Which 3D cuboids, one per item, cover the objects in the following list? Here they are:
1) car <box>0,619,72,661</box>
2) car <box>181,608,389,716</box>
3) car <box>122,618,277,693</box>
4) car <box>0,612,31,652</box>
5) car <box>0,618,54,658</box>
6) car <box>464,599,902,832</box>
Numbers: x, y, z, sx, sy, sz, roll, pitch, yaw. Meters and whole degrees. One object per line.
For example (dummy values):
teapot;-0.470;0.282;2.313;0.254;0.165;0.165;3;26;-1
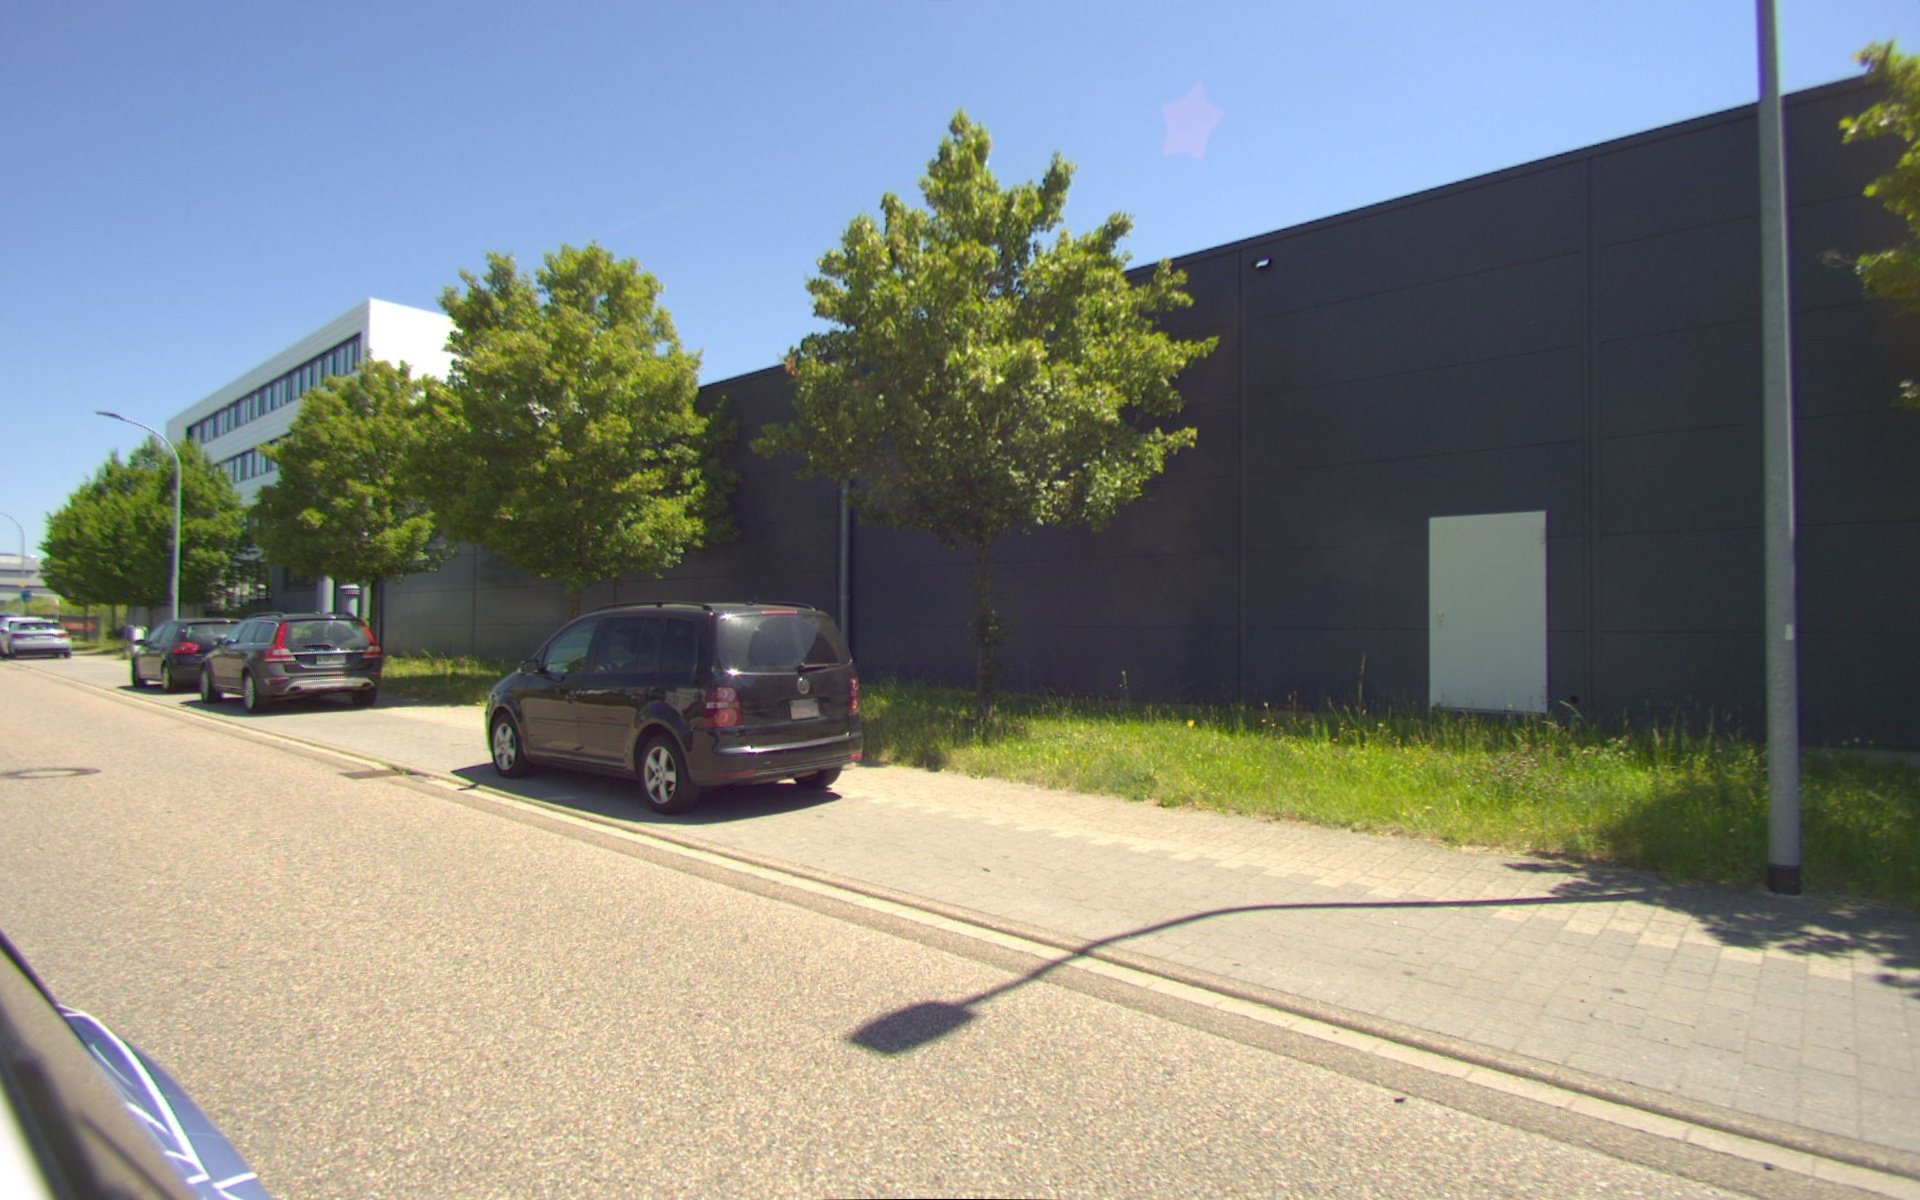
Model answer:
car;-33.508;1.402;36.514;3.939;1.442;1.752;-1;-1;42
car;-11.756;0.977;17.489;4.849;1.624;1.752;-1;-1;41
car;-16.202;1.108;21.492;4.198;1.442;1.752;-1;-1;41
car;-42.458;1.422;44.556;4.580;1.635;1.753;-1;3;42
car;-37.308;1.466;39.987;4.199;1.441;1.752;-1;2;42
car;-2.654;0.846;9.140;4.245;1.624;1.752;-1;-1;41
